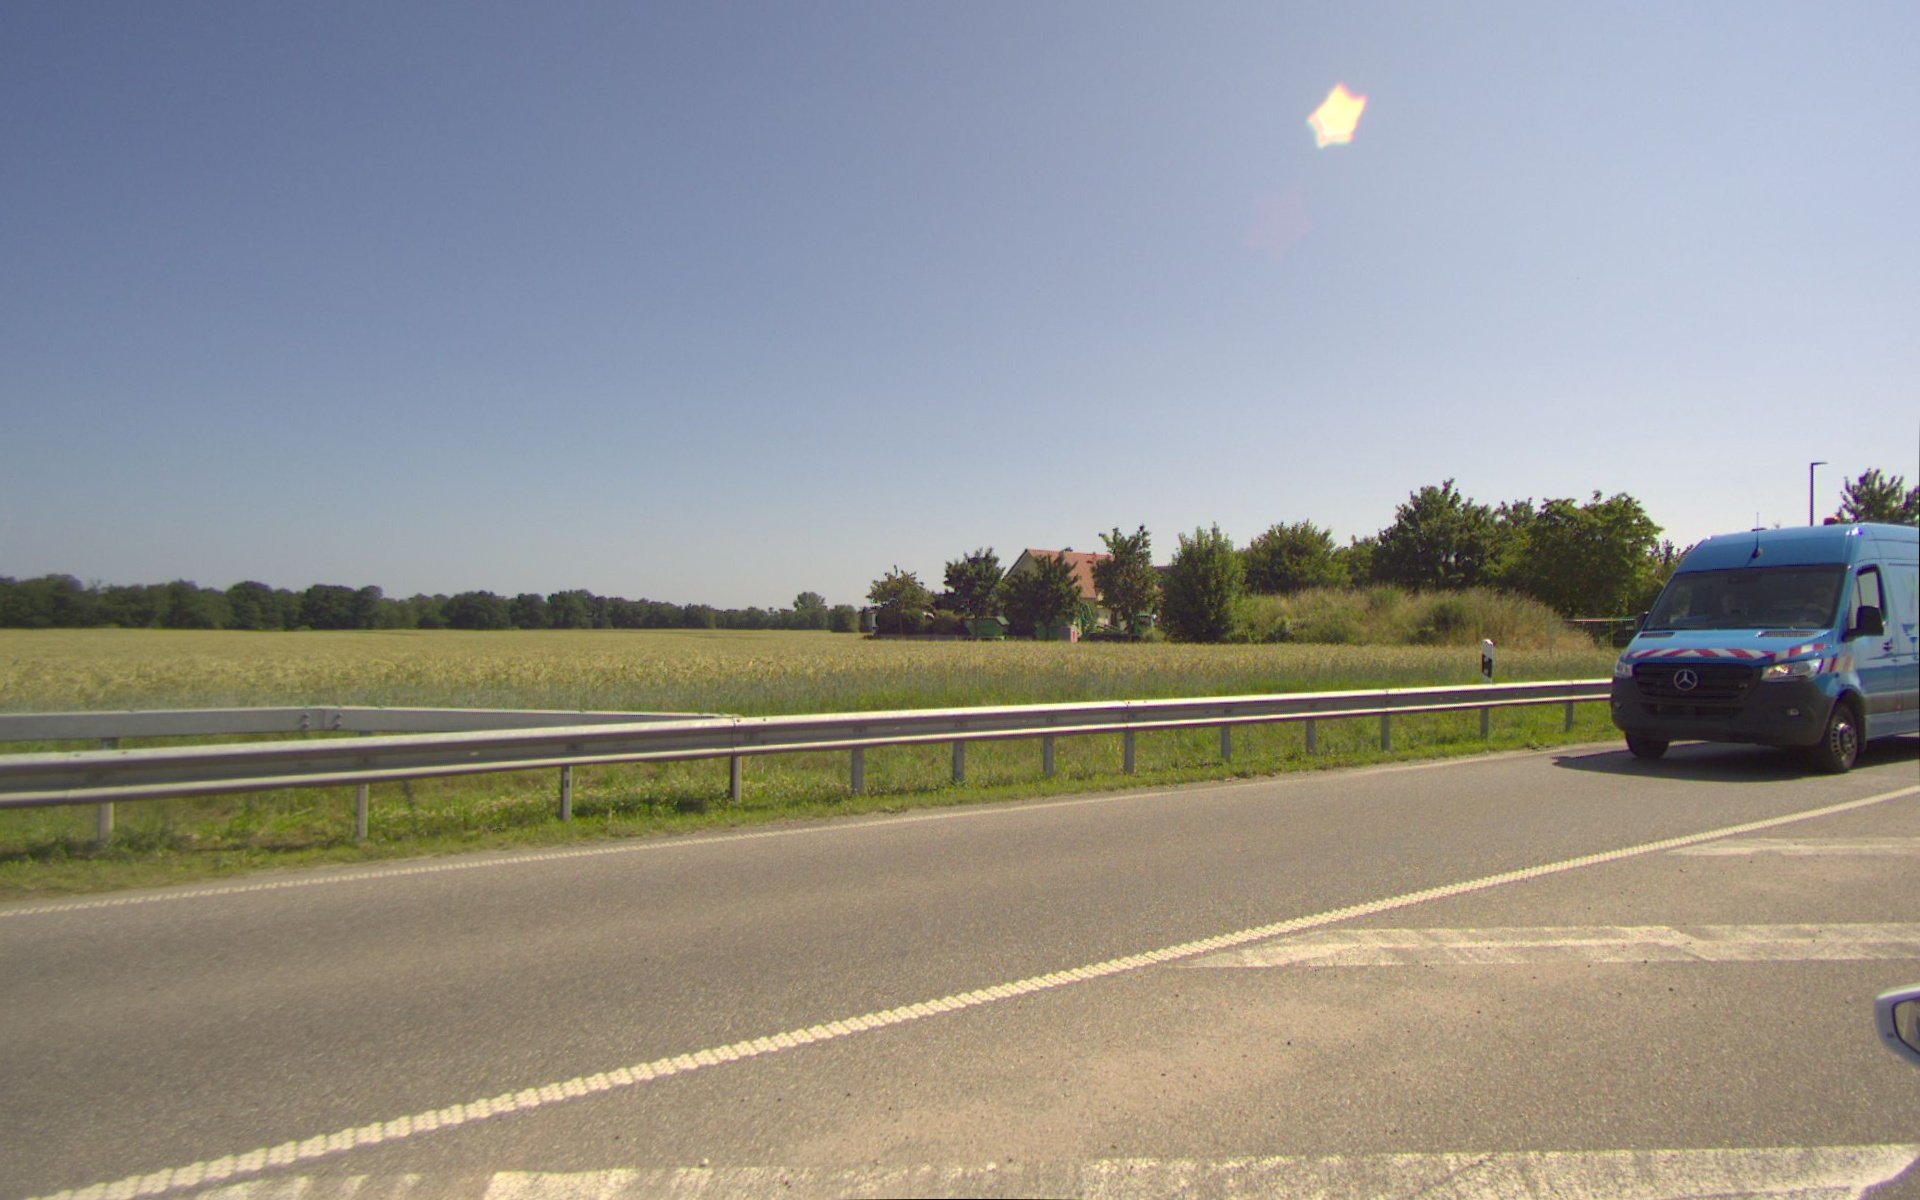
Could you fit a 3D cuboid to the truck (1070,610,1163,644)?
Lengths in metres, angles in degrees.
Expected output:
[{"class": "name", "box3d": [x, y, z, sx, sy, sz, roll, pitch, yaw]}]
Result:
[{"class": "truck", "box3d": [13.471, 2.311, 86.753, 7.540, 2.684, 2.520, 1, -1, 24]}]

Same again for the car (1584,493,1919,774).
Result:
[{"class": "car", "box3d": [10.557, 0.424, 12.167, 7.206, 2.645, 1.984, 1, -3, -31]}]

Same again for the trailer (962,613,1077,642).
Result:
[{"class": "trailer", "box3d": [5.252, 2.432, 90.337, 10.292, 2.308, 1.999, 1, -1, 24]}]
